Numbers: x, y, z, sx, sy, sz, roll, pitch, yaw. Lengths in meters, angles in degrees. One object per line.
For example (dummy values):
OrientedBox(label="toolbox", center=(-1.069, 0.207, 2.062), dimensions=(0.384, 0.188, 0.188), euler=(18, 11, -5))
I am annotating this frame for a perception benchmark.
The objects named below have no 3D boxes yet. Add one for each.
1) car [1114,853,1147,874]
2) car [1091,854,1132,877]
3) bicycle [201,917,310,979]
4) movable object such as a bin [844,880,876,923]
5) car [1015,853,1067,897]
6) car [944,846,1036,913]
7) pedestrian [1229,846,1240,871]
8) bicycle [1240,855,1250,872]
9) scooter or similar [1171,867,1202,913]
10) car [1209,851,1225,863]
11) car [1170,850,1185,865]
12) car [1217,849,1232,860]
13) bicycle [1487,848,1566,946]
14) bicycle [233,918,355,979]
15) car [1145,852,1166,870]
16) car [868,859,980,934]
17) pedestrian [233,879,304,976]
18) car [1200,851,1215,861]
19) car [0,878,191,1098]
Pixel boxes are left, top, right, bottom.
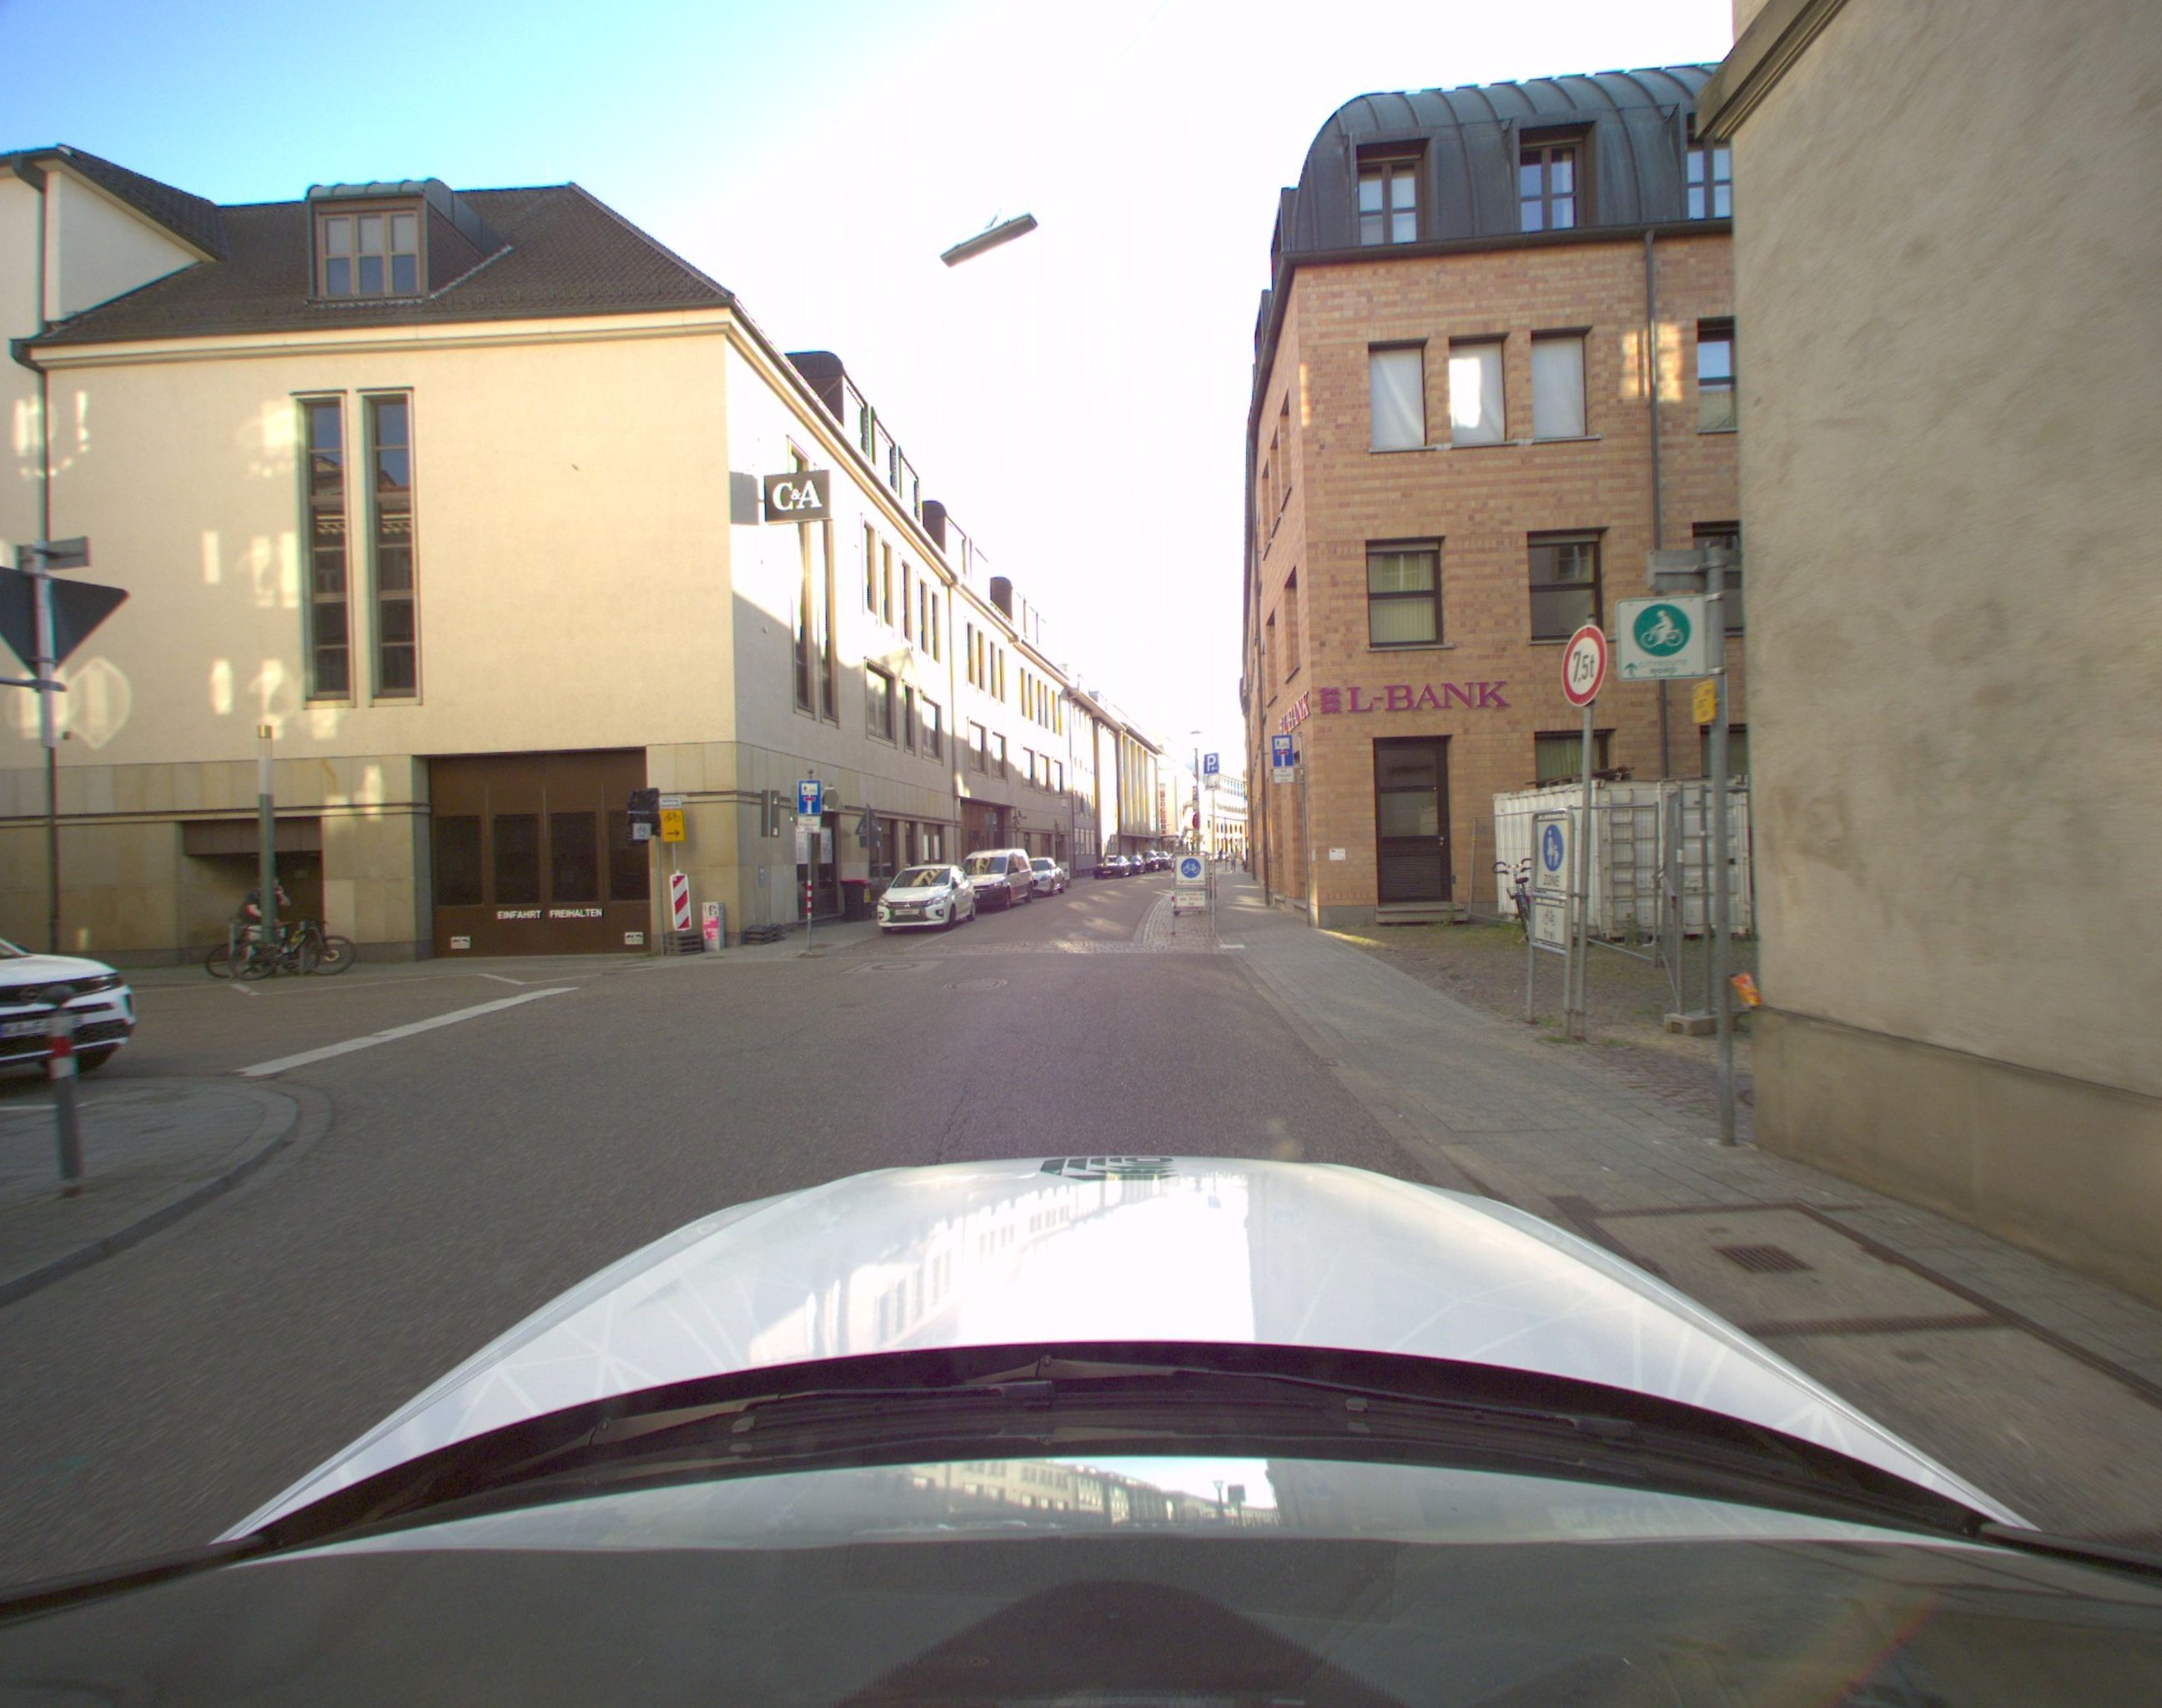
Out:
OrientedBox(label="car", center=(3.595, 0.638, 58.157), dimensions=(1.712, 1.340, 4.014), euler=(-2, 0, 12))
OrientedBox(label="car", center=(2.016, 0.696, 51.899), dimensions=(1.868, 1.332, 4.114), euler=(-2, 0, 12))
OrientedBox(label="bicycle", center=(-14.548, 1.655, 14.364), dimensions=(1.482, 1.004, 0.270), euler=(-2, 0, -7))
OrientedBox(label="movable object such as a bin", center=(-5.618, 1.197, 20.692), dimensions=(0.607, 1.060, 0.713), euler=(1, -1, -1))
OrientedBox(label="car", center=(-1.488, 0.761, 31.481), dimensions=(1.264, 1.507, 3.410), euler=(-3, 0, 9))
OrientedBox(label="car", center=(-2.705, 0.713, 25.326), dimensions=(1.661, 1.818, 4.562), euler=(-3, 0, 8))
OrientedBox(label="pedestrian", center=(10.771, 0.348, 57.185), dimensions=(0.662, 1.730, 0.840), euler=(0, -1, 1))
OrientedBox(label="bicycle", center=(10.525, 0.605, 52.370), dimensions=(0.508, 0.994, 2.654), euler=(-2, 0, 9))
OrientedBox(label="scooter or similar", center=(2.673, 0.909, 20.590), dimensions=(0.767, 1.136, 0.269), euler=(0, -1, 4))
OrientedBox(label="car", center=(17.273, 0.367, 103.466), dimensions=(1.677, 1.370, 3.632), euler=(-2, 0, 14))
OrientedBox(label="car", center=(10.515, 0.387, 88.658), dimensions=(1.329, 1.494, 3.358), euler=(-2, 0, 12))
OrientedBox(label="car", center=(19.412, 0.110, 110.138), dimensions=(1.677, 1.370, 3.632), euler=(-2, 0, 14))
OrientedBox(label="bicycle", center=(6.433, 0.581, 11.834), dimensions=(0.546, 1.317, 1.653), euler=(-3, 0, 13))
OrientedBox(label="bicycle", center=(-13.707, 1.642, 14.205), dimensions=(1.693, 0.965, 0.224), euler=(-2, 0, -9))
OrientedBox(label="car", center=(6.524, 0.583, 71.096), dimensions=(1.329, 1.494, 3.522), euler=(-2, 0, 12))
OrientedBox(label="car", center=(-3.626, 0.928, 19.481), dimensions=(1.663, 1.507, 3.796), euler=(-3, 0, 3))
OrientedBox(label="pedestrian", center=(-14.990, 1.325, 15.044), dimensions=(0.693, 1.702, 0.660), euler=(-1, 0, -22))
OrientedBox(label="car", center=(17.655, 0.263, 113.384), dimensions=(1.677, 1.370, 3.632), euler=(-2, 0, 14))
OrientedBox(label="car", center=(-10.304, 1.141, 6.900), dimensions=(3.963, 1.655, 1.768), euler=(-2, 0, 9))
